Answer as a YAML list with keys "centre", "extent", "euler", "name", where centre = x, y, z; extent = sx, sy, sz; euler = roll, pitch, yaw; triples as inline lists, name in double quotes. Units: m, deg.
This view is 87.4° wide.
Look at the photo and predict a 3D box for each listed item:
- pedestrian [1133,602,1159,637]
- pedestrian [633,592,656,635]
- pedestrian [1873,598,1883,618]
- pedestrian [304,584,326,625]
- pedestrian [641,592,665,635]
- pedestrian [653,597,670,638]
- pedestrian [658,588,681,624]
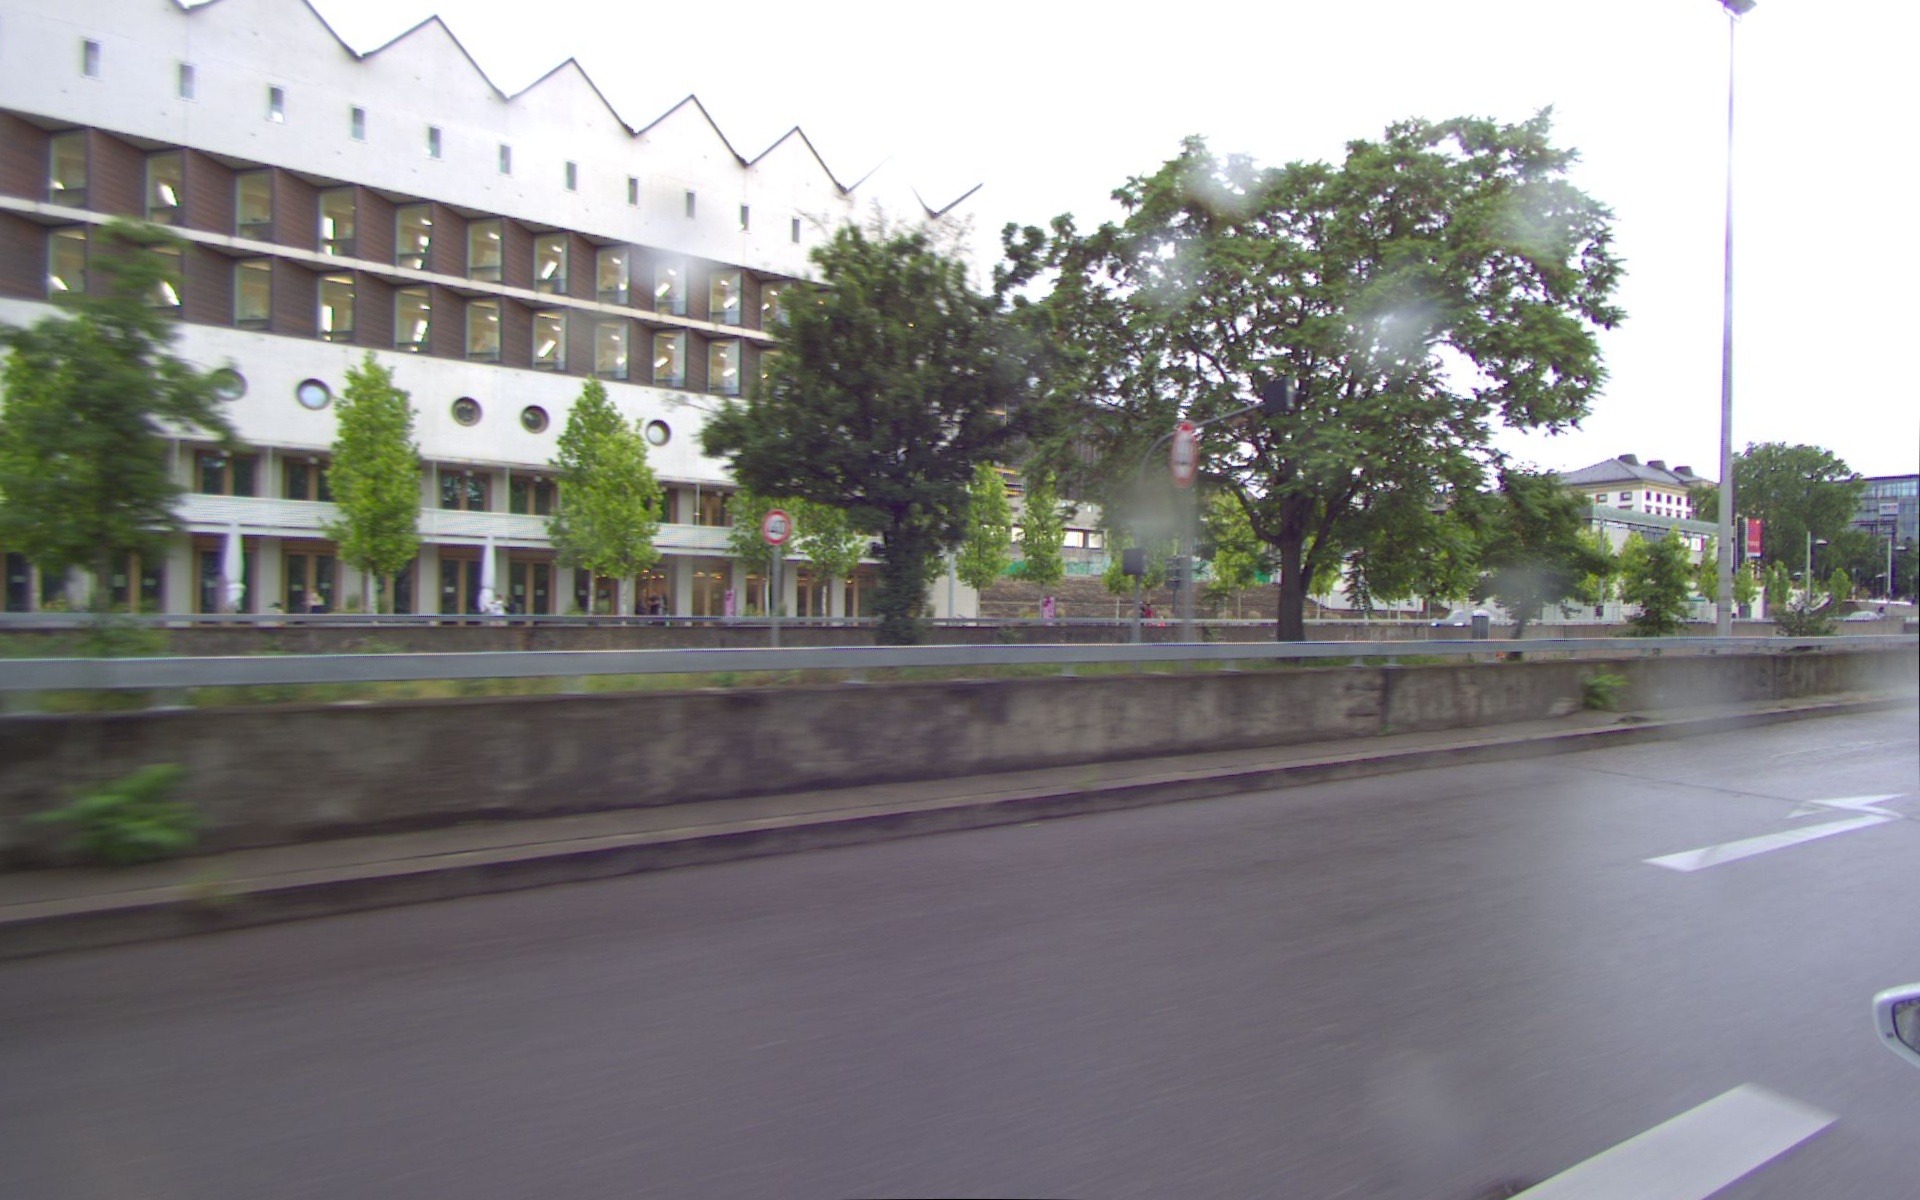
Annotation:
- centre: [10.260, 1.080, 55.409]
  extent: [0.820, 1.891, 1.079]
  euler: [1, 1, -32]
  name: "pedestrian"
- centre: [-13.957, 0.599, 44.437]
  extent: [0.687, 1.883, 0.741]
  euler: [2, 1, 11]
  name: "pedestrian"
- centre: [102.637, 0.918, 112.347]
  extent: [0.763, 2.120, 0.718]
  euler: [-6, 5, -39]
  name: "pedestrian"
- centre: [-24.654, 0.167, 38.397]
  extent: [0.644, 1.535, 0.674]
  euler: [1, 1, -33]
  name: "pedestrian"
- centre: [-13.850, 0.606, 45.341]
  extent: [0.687, 1.883, 0.741]
  euler: [2, 1, 11]
  name: "pedestrian"
- centre: [-14.222, 0.836, 47.822]
  extent: [0.691, 1.883, 0.737]
  euler: [2, 1, -21]
  name: "pedestrian"
- centre: [-13.457, 0.271, 46.509]
  extent: [0.690, 1.649, 0.738]
  euler: [2, 1, 33]
  name: "pedestrian"
